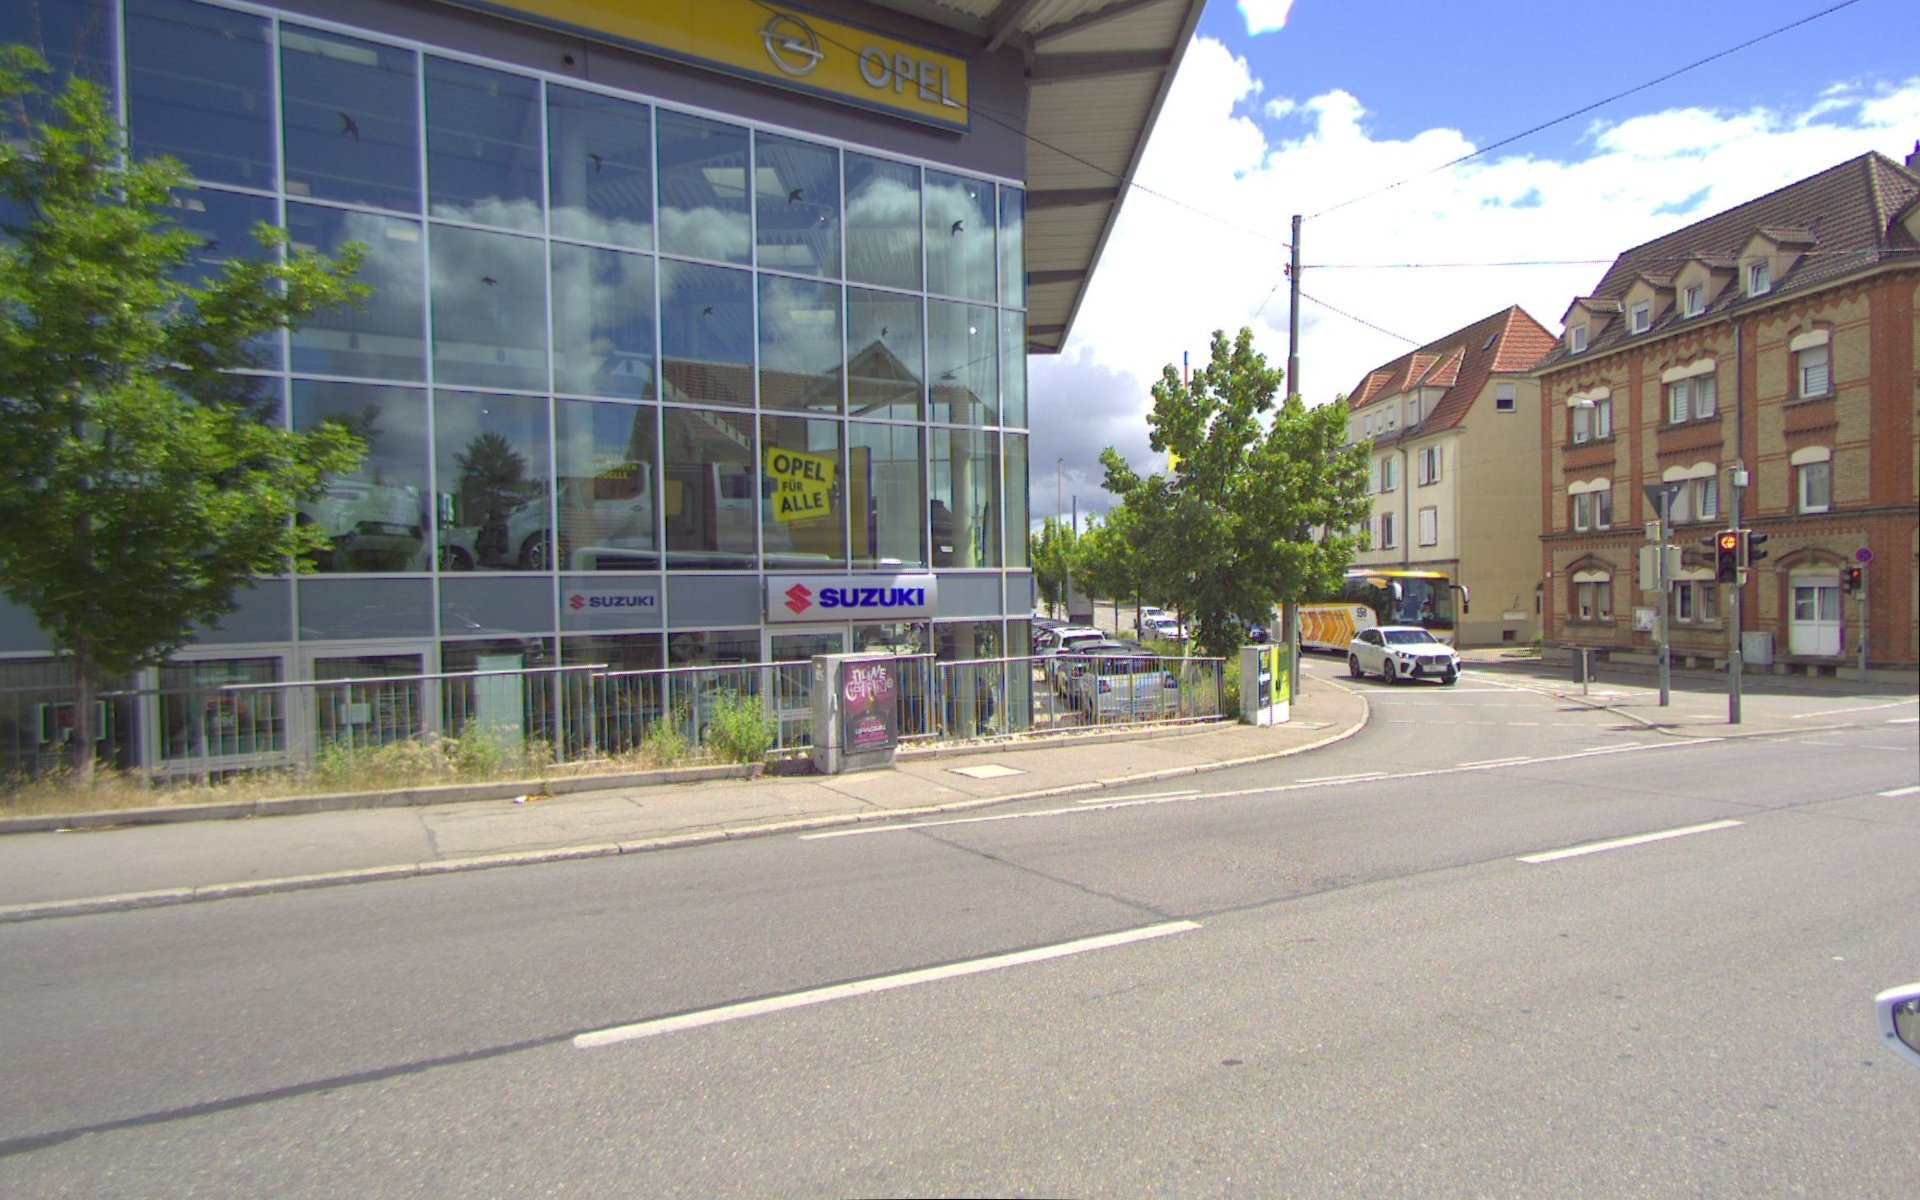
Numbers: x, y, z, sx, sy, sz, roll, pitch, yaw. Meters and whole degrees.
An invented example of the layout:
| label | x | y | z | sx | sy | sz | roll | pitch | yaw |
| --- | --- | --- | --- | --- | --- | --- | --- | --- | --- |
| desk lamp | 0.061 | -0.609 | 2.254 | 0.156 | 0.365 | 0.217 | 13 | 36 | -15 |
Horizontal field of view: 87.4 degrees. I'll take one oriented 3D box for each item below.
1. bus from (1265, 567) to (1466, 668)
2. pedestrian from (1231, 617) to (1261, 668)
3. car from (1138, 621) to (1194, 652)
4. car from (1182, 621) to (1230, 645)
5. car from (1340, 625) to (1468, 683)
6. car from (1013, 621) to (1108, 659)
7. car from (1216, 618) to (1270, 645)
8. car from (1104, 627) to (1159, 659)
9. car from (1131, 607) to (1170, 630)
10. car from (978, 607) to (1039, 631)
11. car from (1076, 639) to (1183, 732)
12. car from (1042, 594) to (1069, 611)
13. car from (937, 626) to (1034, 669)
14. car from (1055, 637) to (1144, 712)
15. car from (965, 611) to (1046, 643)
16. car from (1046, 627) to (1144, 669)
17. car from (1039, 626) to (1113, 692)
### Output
| label | x | y | z | sx | sy | sz | roll | pitch | yaw |
| --- | --- | --- | --- | --- | --- | --- | --- | --- | --- |
| bus | 16.910 | 0.572 | 43.367 | 2.719 | 3.670 | 12.253 | 1 | 1 | -5 |
| pedestrian | 9.990 | 1.469 | 35.065 | 0.744 | 1.757 | 1.145 | 1 | -1 | 2 |
| car | 11.026 | 1.930 | 54.106 | 1.823 | 1.617 | 3.996 | 1 | -1 | -6 |
| car | 15.464 | 2.065 | 63.279 | 1.874 | 1.428 | 3.999 | 1 | -1 | -2 |
| car | 12.895 | 1.586 | 29.500 | 1.797 | 1.572 | 4.308 | 1 | -3 | -1 |
| car | 4.480 | 1.778 | 45.073 | 3.925 | 1.574 | 1.806 | 1 | -1 | -7 |
| car | 15.681 | 1.702 | 55.827 | 1.717 | 1.428 | 3.999 | 1 | -1 | -3 |
| car | 8.276 | 2.055 | 48.747 | 1.766 | 1.467 | 3.498 | 1 | -1 | -5 |
| car | 13.584 | 1.351 | 71.897 | 1.874 | 1.574 | 3.999 | 1 | -1 | -2 |
| car | 3.220 | 1.282 | 67.451 | 3.922 | 1.574 | 1.807 | 1 | -1 | -1 |
| car | 3.339 | 1.664 | 20.376 | 1.648 | 1.582 | 3.365 | -1 | 0 | 1 |
| car | 10.127 | 0.269 | 106.820 | 1.793 | 1.773 | 3.993 | 1 | -1 | -10 |
| car | 0.916 | 1.727 | 36.981 | 3.432 | 1.467 | 1.799 | -1 | 0 | -3 |
| car | 3.326 | 1.753 | 24.478 | 1.584 | 1.547 | 3.499 | -1 | 0 | -2 |
| car | 2.355 | 1.407 | 52.788 | 3.930 | 1.574 | 1.804 | 1 | -1 | -12 |
| car | 4.990 | 1.774 | 37.406 | 3.430 | 1.497 | 1.800 | 1 | -1 | 1 |
| car | 3.300 | 1.655 | 29.129 | 1.620 | 1.703 | 3.499 | -1 | 0 | -2 |
